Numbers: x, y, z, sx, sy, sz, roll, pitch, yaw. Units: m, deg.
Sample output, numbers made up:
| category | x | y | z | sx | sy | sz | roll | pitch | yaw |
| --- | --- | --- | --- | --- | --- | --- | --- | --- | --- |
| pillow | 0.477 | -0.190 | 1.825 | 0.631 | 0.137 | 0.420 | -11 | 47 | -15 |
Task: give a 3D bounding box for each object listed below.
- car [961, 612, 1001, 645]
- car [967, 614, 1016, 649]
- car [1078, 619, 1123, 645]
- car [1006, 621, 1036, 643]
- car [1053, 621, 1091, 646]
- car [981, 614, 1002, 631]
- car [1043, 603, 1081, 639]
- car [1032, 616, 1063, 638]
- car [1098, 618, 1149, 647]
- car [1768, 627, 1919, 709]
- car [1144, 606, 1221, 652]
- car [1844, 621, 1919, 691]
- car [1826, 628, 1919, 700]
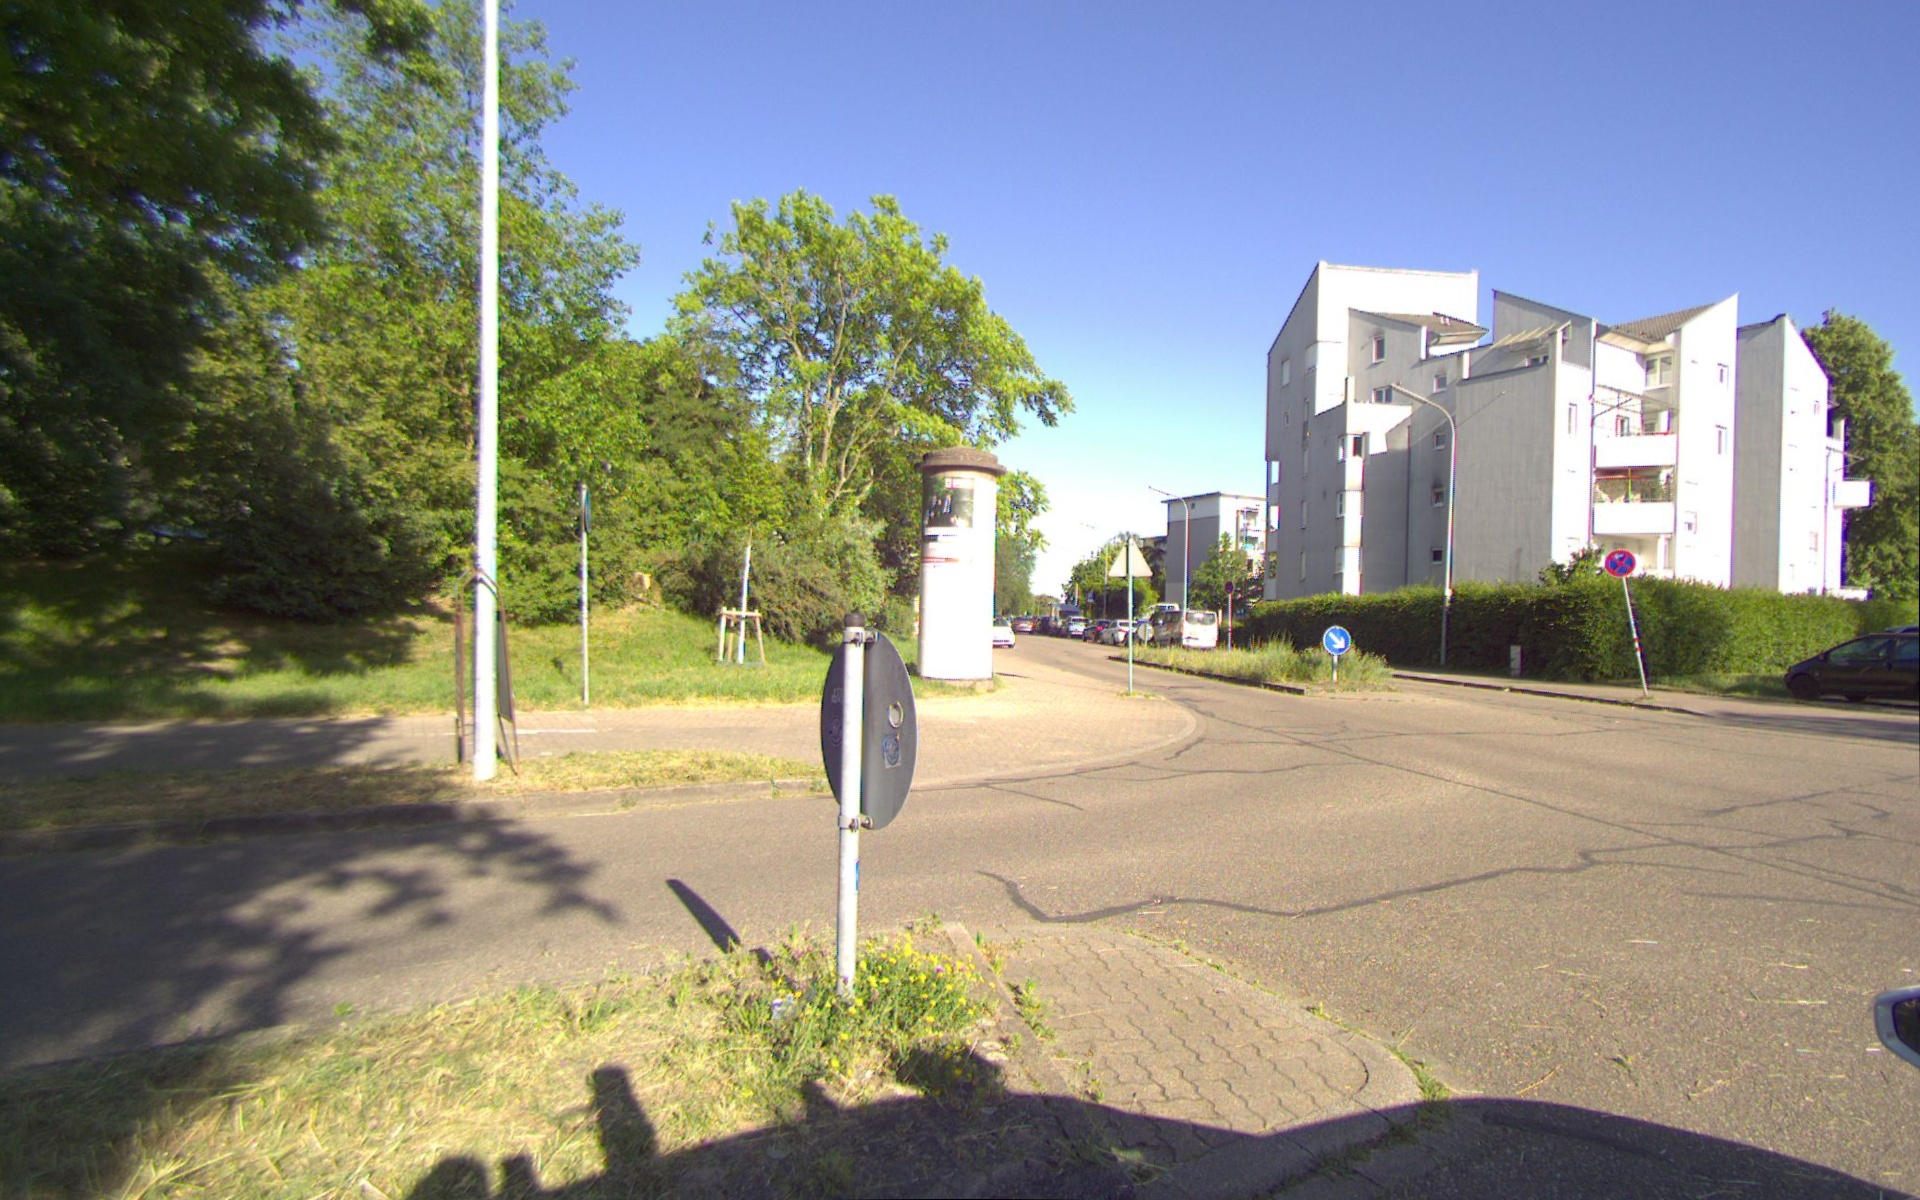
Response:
| category | x | y | z | sx | sy | sz | roll | pitch | yaw |
| --- | --- | --- | --- | --- | --- | --- | --- | --- | --- |
| car | 1.048 | 1.450 | 52.466 | 1.648 | 1.660 | 4.247 | 0 | -1 | -5 |
| car | 1.474 | 1.454 | 47.509 | 1.602 | 1.548 | 3.413 | 1 | -1 | -11 |
| car | 8.681 | 1.955 | 62.464 | 1.879 | 1.508 | 4.372 | 2 | -1 | -4 |
| car | 4.806 | 2.518 | 79.952 | 1.847 | 1.665 | 4.074 | 2 | -1 | -4 |
| car | 7.930 | 2.336 | 71.514 | 1.879 | 1.688 | 4.372 | 2 | -1 | -4 |
| car | 3.140 | 2.248 | 101.883 | 1.881 | 1.728 | 4.185 | 1 | -1 | -1 |
| car | 7.795 | 1.602 | 77.107 | 2.071 | 2.519 | 5.855 | 3 | -1 | -2 |
| car | 7.326 | 2.236 | 84.150 | 1.879 | 1.688 | 4.372 | 2 | -1 | -4 |
| car | 9.178 | 1.810 | 56.743 | 1.879 | 1.508 | 4.372 | 2 | -1 | -4 |
| car | 18.813 | 1.331 | 20.370 | 1.674 | 1.486 | 3.525 | 1 | 0 | -13 |
| car | 10.197 | 1.322 | 46.465 | 1.963 | 1.937 | 4.949 | 2 | -1 | -6 |
| car | 24.328 | 1.350 | 23.684 | 1.759 | 1.676 | 4.979 | 1 | -1 | -24 |
| car | 21.075 | 1.366 | 21.413 | 1.624 | 1.516 | 3.679 | 1 | -1 | -17 |
